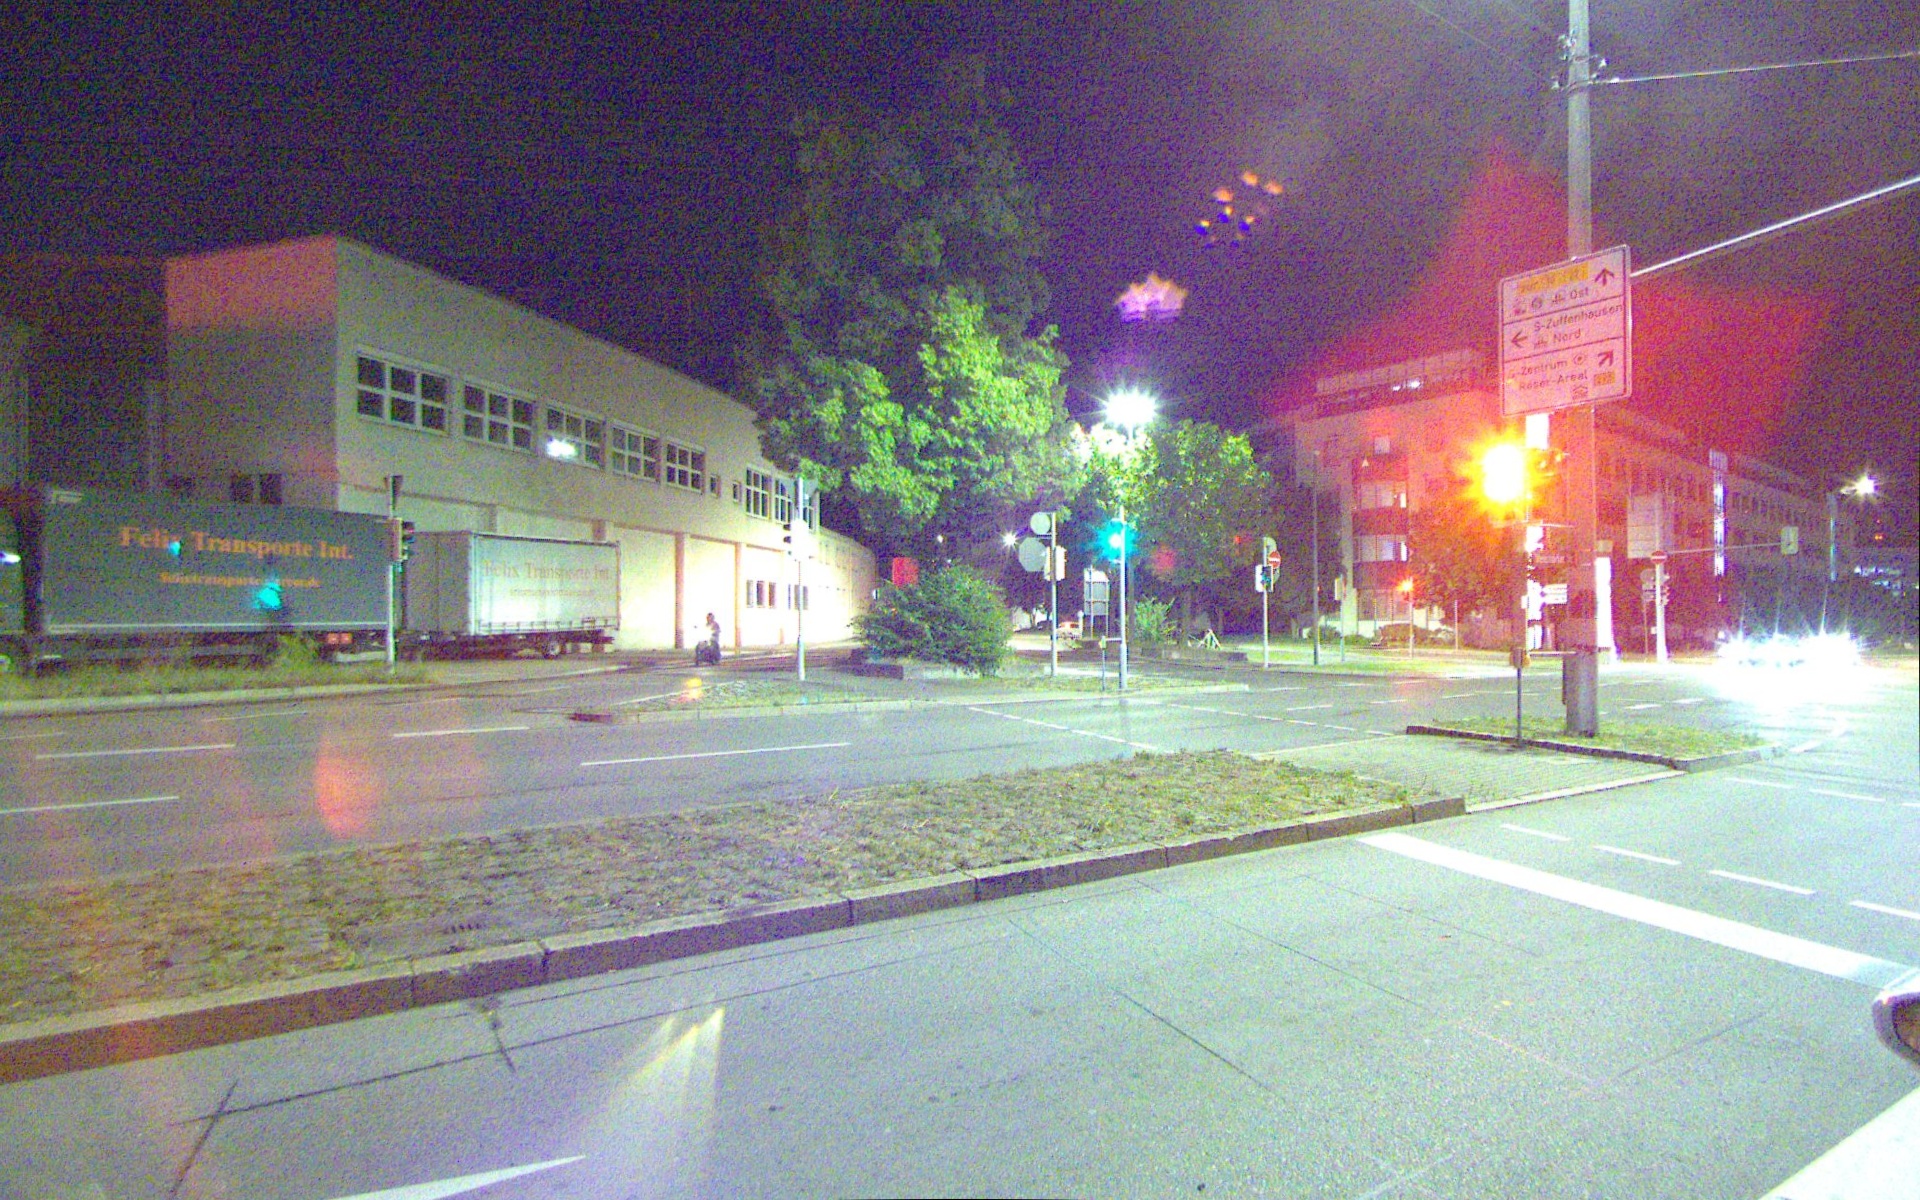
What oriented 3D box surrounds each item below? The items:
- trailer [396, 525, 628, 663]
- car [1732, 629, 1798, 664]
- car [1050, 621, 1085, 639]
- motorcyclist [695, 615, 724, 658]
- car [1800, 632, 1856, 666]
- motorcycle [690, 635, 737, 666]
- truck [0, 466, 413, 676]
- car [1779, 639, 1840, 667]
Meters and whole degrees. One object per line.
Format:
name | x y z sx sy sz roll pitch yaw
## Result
trailer | -13.684 -0.073 31.338 2.571 3.840 6.512 1 -2 23
car | 37.269 2.171 46.492 3.966 1.535 1.603 3 -2 -39
car | 9.134 2.523 85.471 1.680 1.511 3.989 2 -2 -14
motorcyclist | -7.524 1.102 30.223 0.635 1.278 0.579 1 -1 9
car | 47.006 2.636 54.373 3.518 1.750 1.743 3 -2 -39
motorcycle | -7.425 1.514 30.344 0.568 0.907 2.157 -1 -2 9
truck | -17.469 -0.421 22.201 2.892 3.846 9.552 1 -2 25
car | 42.995 2.663 50.829 3.518 1.339 1.743 3 -2 -39
